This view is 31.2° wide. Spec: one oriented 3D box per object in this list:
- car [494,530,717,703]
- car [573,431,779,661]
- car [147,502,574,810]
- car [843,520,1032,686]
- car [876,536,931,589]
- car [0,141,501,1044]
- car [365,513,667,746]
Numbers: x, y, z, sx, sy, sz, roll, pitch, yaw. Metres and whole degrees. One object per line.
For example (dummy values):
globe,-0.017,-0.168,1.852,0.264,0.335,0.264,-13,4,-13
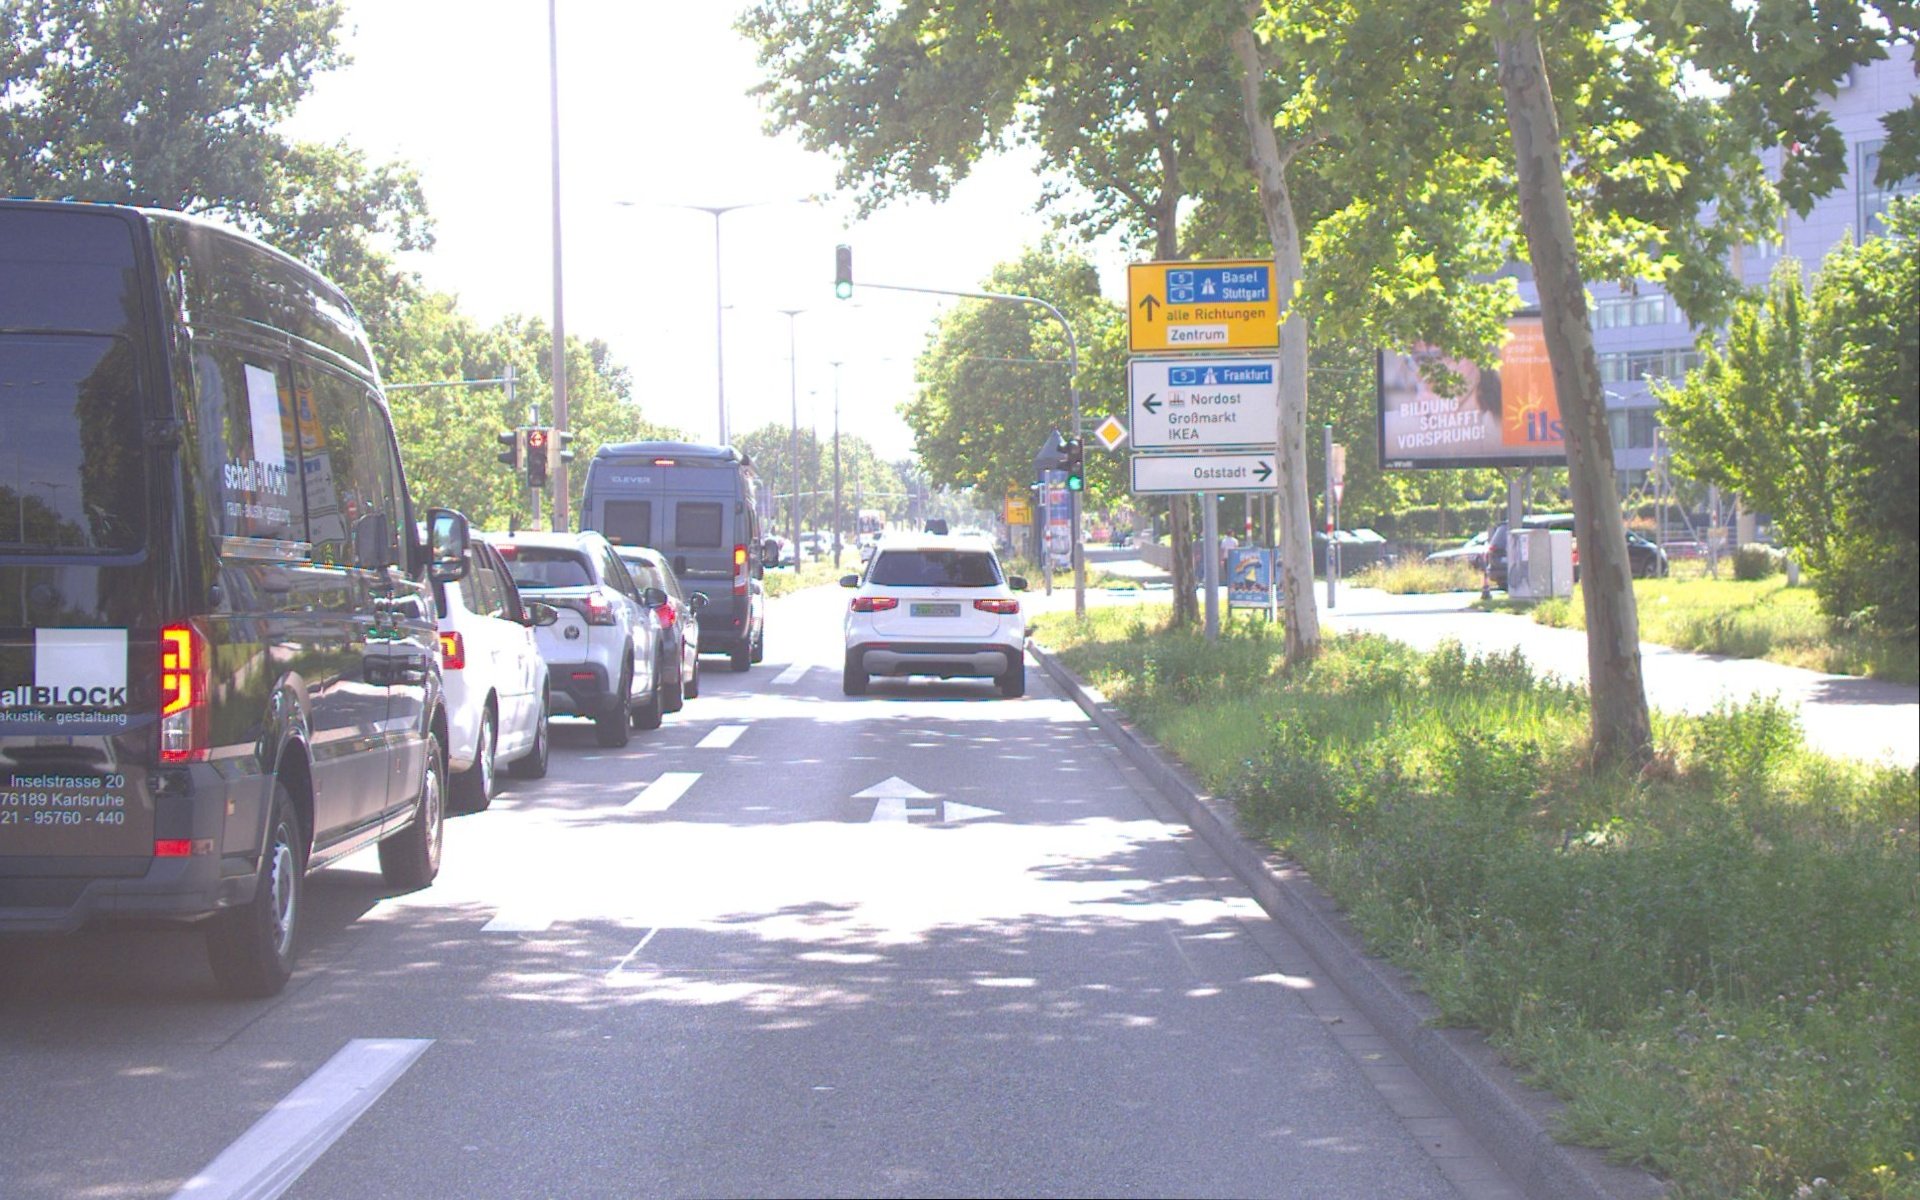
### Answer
car,-3.271,0.108,32.372,1.691,1.499,3.886,1,1,0
car,-3.430,-0.657,42.361,2.081,2.647,4.874,1,1,0
car,-3.452,0.272,20.557,1.771,1.641,4.352,0,1,0
car,-0.250,-0.015,35.909,1.853,1.601,4.000,1,1,-1
car,-1.517,-1.025,92.613,1.464,1.399,3.477,0,1,-1
car,-3.163,-0.065,12.983,2.016,2.598,6.169,0,1,0
car,-3.317,0.183,26.391,1.771,1.641,4.084,0,1,0
